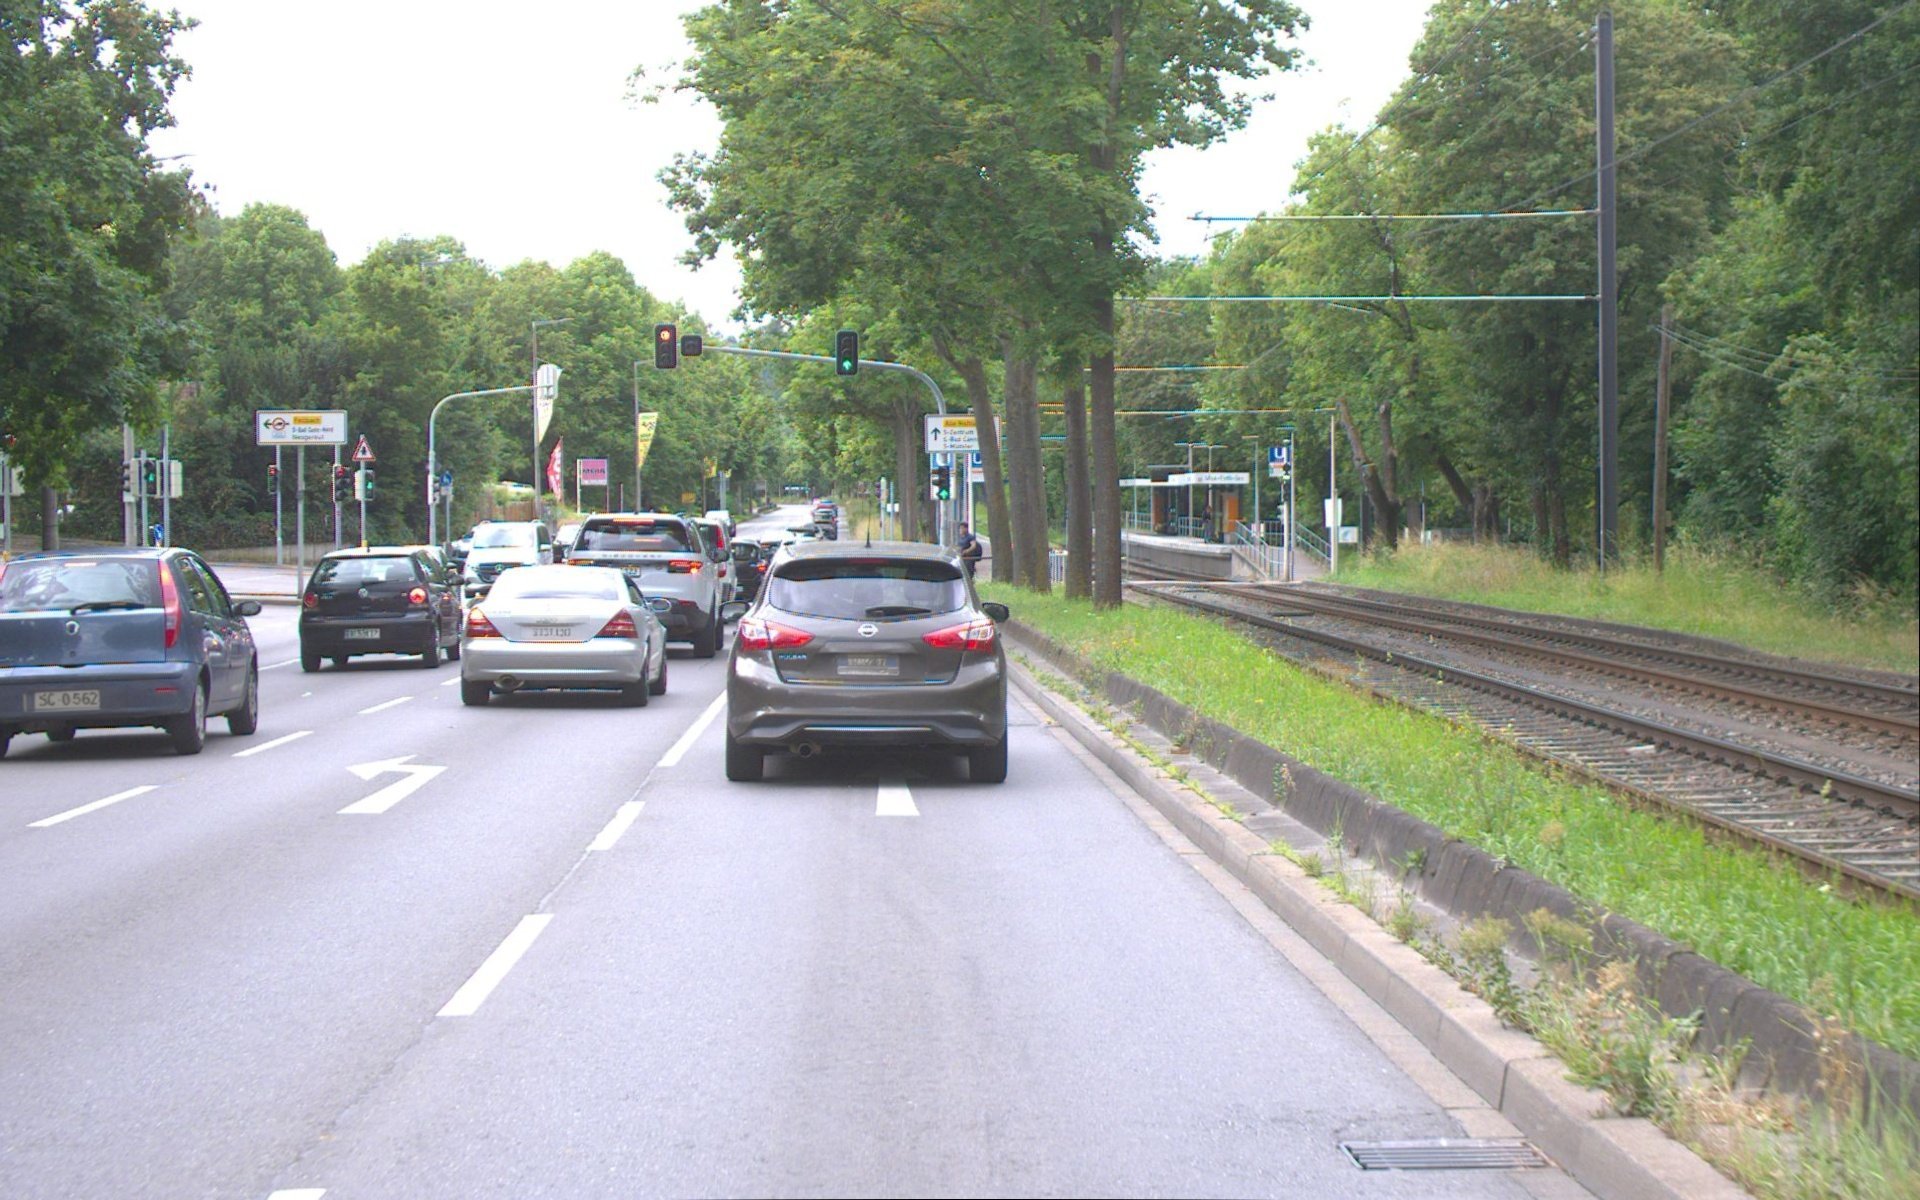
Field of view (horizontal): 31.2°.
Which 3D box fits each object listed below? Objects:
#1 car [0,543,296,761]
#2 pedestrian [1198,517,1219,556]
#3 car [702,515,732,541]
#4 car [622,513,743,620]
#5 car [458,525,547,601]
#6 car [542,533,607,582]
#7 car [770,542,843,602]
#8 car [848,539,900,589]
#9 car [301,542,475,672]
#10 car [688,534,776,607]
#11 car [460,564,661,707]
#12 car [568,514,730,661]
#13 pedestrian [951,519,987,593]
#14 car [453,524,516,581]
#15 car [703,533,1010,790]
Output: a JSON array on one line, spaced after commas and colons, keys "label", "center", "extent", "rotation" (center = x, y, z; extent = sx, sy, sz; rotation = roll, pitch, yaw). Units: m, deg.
[{"label": "car", "center": [-6.120, 0.326, 25.520], "extent": [1.591, 1.463, 3.929], "rotation": [-1, 1, 0]}, {"label": "pedestrian", "center": [9.651, -2.468, 133.762], "extent": [0.718, 1.506, 0.724], "rotation": [2, 0, 1]}, {"label": "car", "center": [-15.634, -4.626, 221.074], "extent": [1.901, 1.673, 5.081], "rotation": [0, 1, -4]}, {"label": "car", "center": [-4.931, -0.624, 61.682], "extent": [1.907, 1.837, 5.282], "rotation": [0, 1, -2]}, {"label": "car", "center": [-11.464, -0.946, 86.447], "extent": [1.791, 1.825, 4.410], "rotation": [-1, 1, -2]}, {"label": "car", "center": [-12.497, -1.392, 111.593], "extent": [1.739, 1.533, 3.910], "rotation": [1, 1, -1]}, {"label": "car", "center": [-3.957, -0.748, 89.041], "extent": [1.710, 1.470, 3.671], "rotation": [1, 1, 0]}, {"label": "car", "center": [-2.695, -1.151, 108.026], "extent": [1.503, 1.523, 3.671], "rotation": [1, 1, 0]}, {"label": "car", "center": [-6.968, 0.052, 42.164], "extent": [1.556, 1.461, 3.808], "rotation": [-2, 1, -2]}, {"label": "car", "center": [-4.746, -0.634, 71.830], "extent": [1.703, 1.475, 3.668], "rotation": [0, 1, -2]}, {"label": "car", "center": [-3.724, 0.298, 32.540], "extent": [1.555, 1.262, 3.823], "rotation": [0, 1, -2]}, {"label": "car", "center": [-4.029, -0.181, 45.122], "extent": [1.803, 1.789, 4.503], "rotation": [1, 1, -1]}, {"label": "pedestrian", "center": [0.229, -1.052, 82.299], "extent": [0.752, 1.731, 0.839], "rotation": [-2, 1, 3]}, {"label": "car", "center": [-15.801, -1.598, 114.451], "extent": [1.943, 1.805, 4.445], "rotation": [1, 1, -6]}, {"label": "car", "center": [-0.629, 0.336, 22.787], "extent": [1.837, 1.523, 3.929], "rotation": [1, 1, 0]}]
